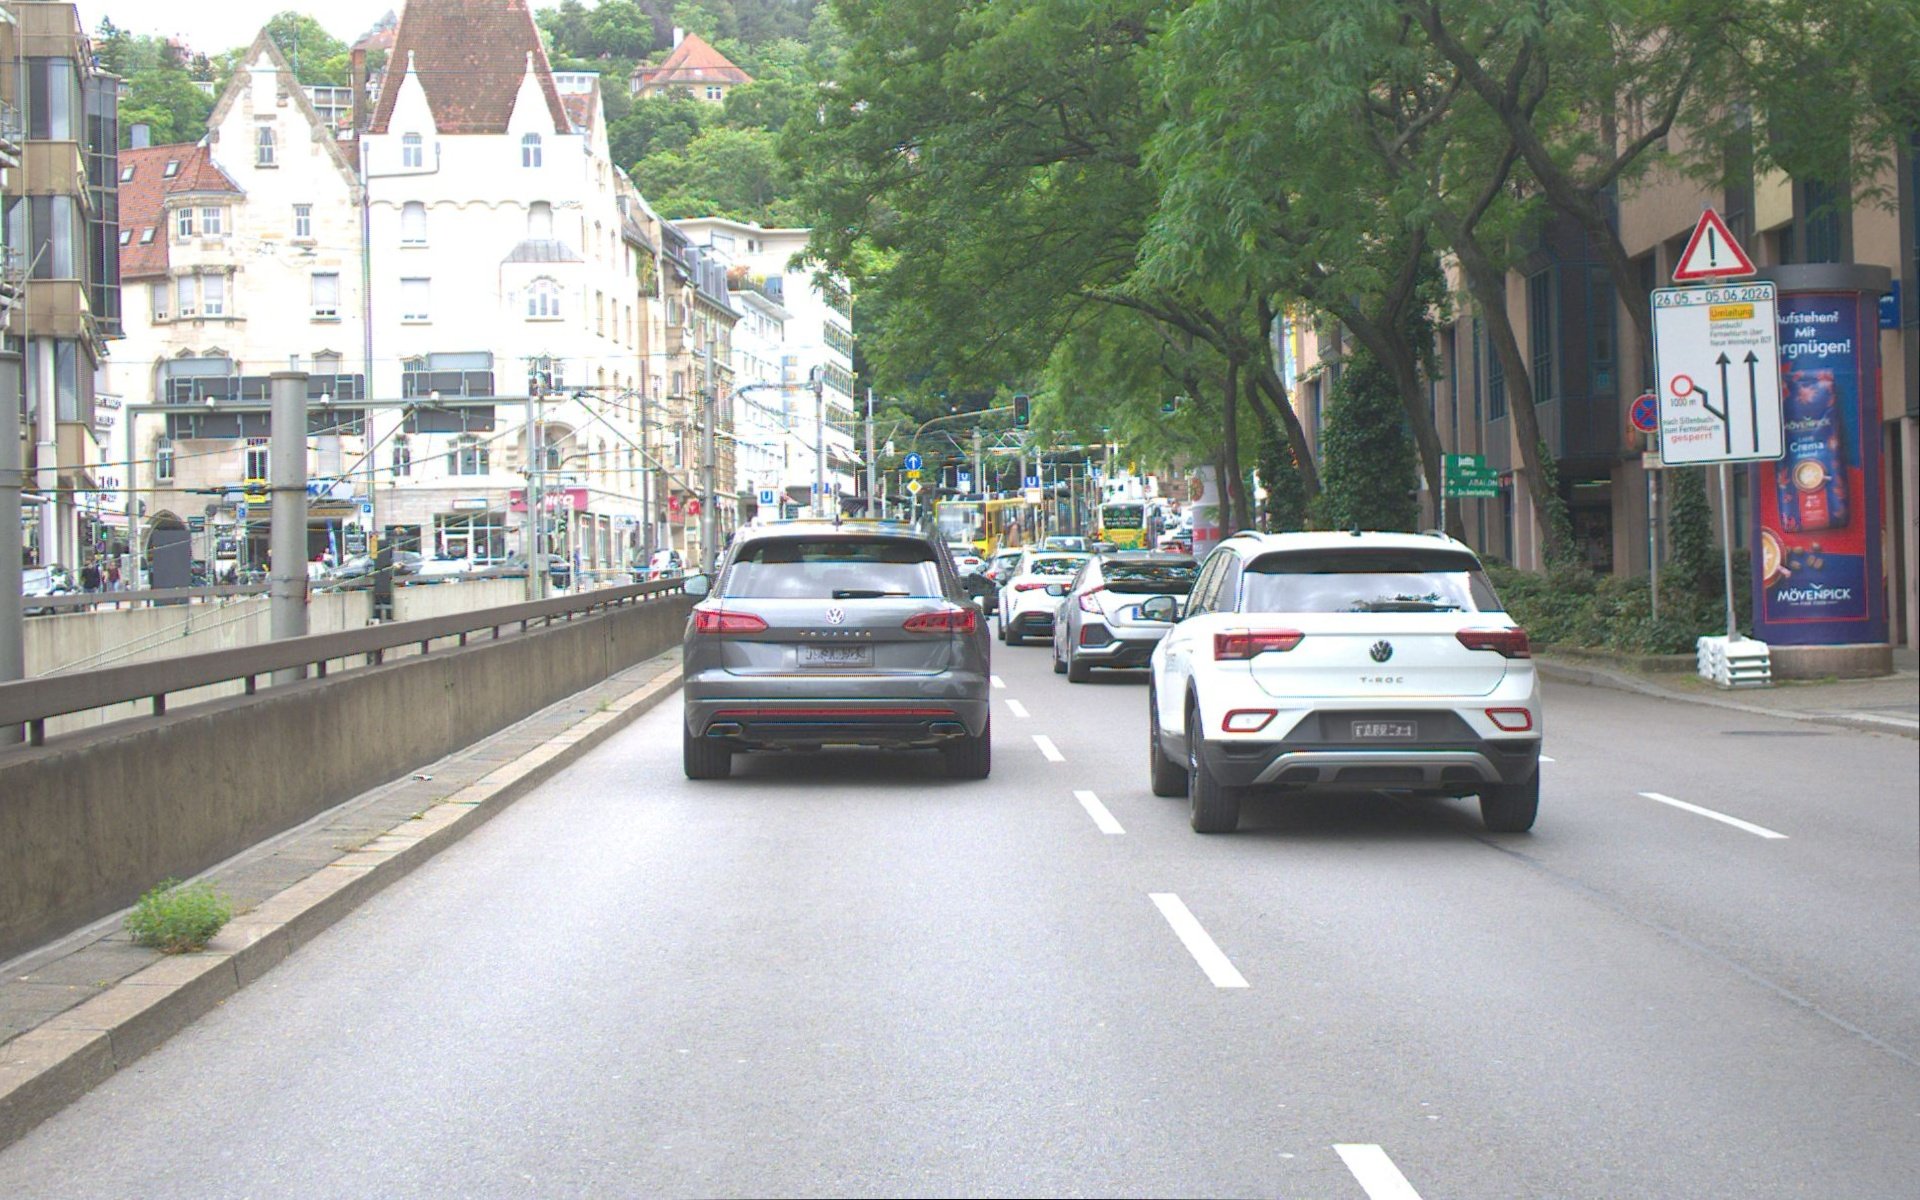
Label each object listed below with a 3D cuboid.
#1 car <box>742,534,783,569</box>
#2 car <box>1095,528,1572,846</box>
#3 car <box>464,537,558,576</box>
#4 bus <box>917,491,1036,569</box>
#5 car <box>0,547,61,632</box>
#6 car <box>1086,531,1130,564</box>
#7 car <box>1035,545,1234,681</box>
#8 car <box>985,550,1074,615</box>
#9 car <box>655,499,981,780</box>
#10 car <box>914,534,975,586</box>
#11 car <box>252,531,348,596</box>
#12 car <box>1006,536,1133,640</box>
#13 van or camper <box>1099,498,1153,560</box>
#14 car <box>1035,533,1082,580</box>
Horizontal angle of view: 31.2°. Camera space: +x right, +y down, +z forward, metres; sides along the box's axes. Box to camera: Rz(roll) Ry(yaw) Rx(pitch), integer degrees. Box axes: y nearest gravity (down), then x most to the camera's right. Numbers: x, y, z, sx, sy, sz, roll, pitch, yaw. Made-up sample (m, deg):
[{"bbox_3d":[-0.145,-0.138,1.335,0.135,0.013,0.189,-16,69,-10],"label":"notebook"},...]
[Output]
[{"bbox_3d":[-9.440,-2.325,164.330,1.818,1.641,4.001,-1,1,-5],"label":"car"},{"bbox_3d":[1.906,0.419,18.713,1.797,1.540,3.936,0,0,-6],"label":"car"},{"bbox_3d":[-19.519,-1.899,149.500,3.986,1.641,1.825,-1,1,-9],"label":"car"},{"bbox_3d":[0.962,-3.412,166.889,3.850,3.520,17.242,-1,1,7],"label":"bus"},{"bbox_3d":[-21.152,-0.233,74.970,1.993,1.761,4.281,-1,1,-1],"label":"car"},{"bbox_3d":[6.854,-2.439,158.997,1.844,1.464,4.000,-1,1,5],"label":"car"},{"bbox_3d":[1.887,0.108,38.335,1.833,1.427,4.148,0,1,-2],"label":"car"},{"bbox_3d":[1.531,-0.407,77.102,1.832,1.358,3.767,-2,1,-1],"label":"car"},{"bbox_3d":[-0.978,0.181,23.049,1.970,1.690,4.225,1,2,-3],"label":"car"},{"bbox_3d":[-0.514,-1.292,110.625,1.832,1.561,3.767,-2,1,-1],"label":"car"},{"bbox_3d":[-18.713,-1.042,97.593,1.993,1.761,4.000,-1,1,-1],"label":"car"},{"bbox_3d":[1.702,-0.213,54.503,1.832,1.512,3.767,-3,1,0],"label":"car"},{"bbox_3d":[8.710,-3.723,179.719,2.628,3.167,5.802,-1,1,4],"label":"van or camper"},{"bbox_3d":[4.159,-1.850,146.090,1.832,1.868,4.871,-2,1,0],"label":"car"}]
